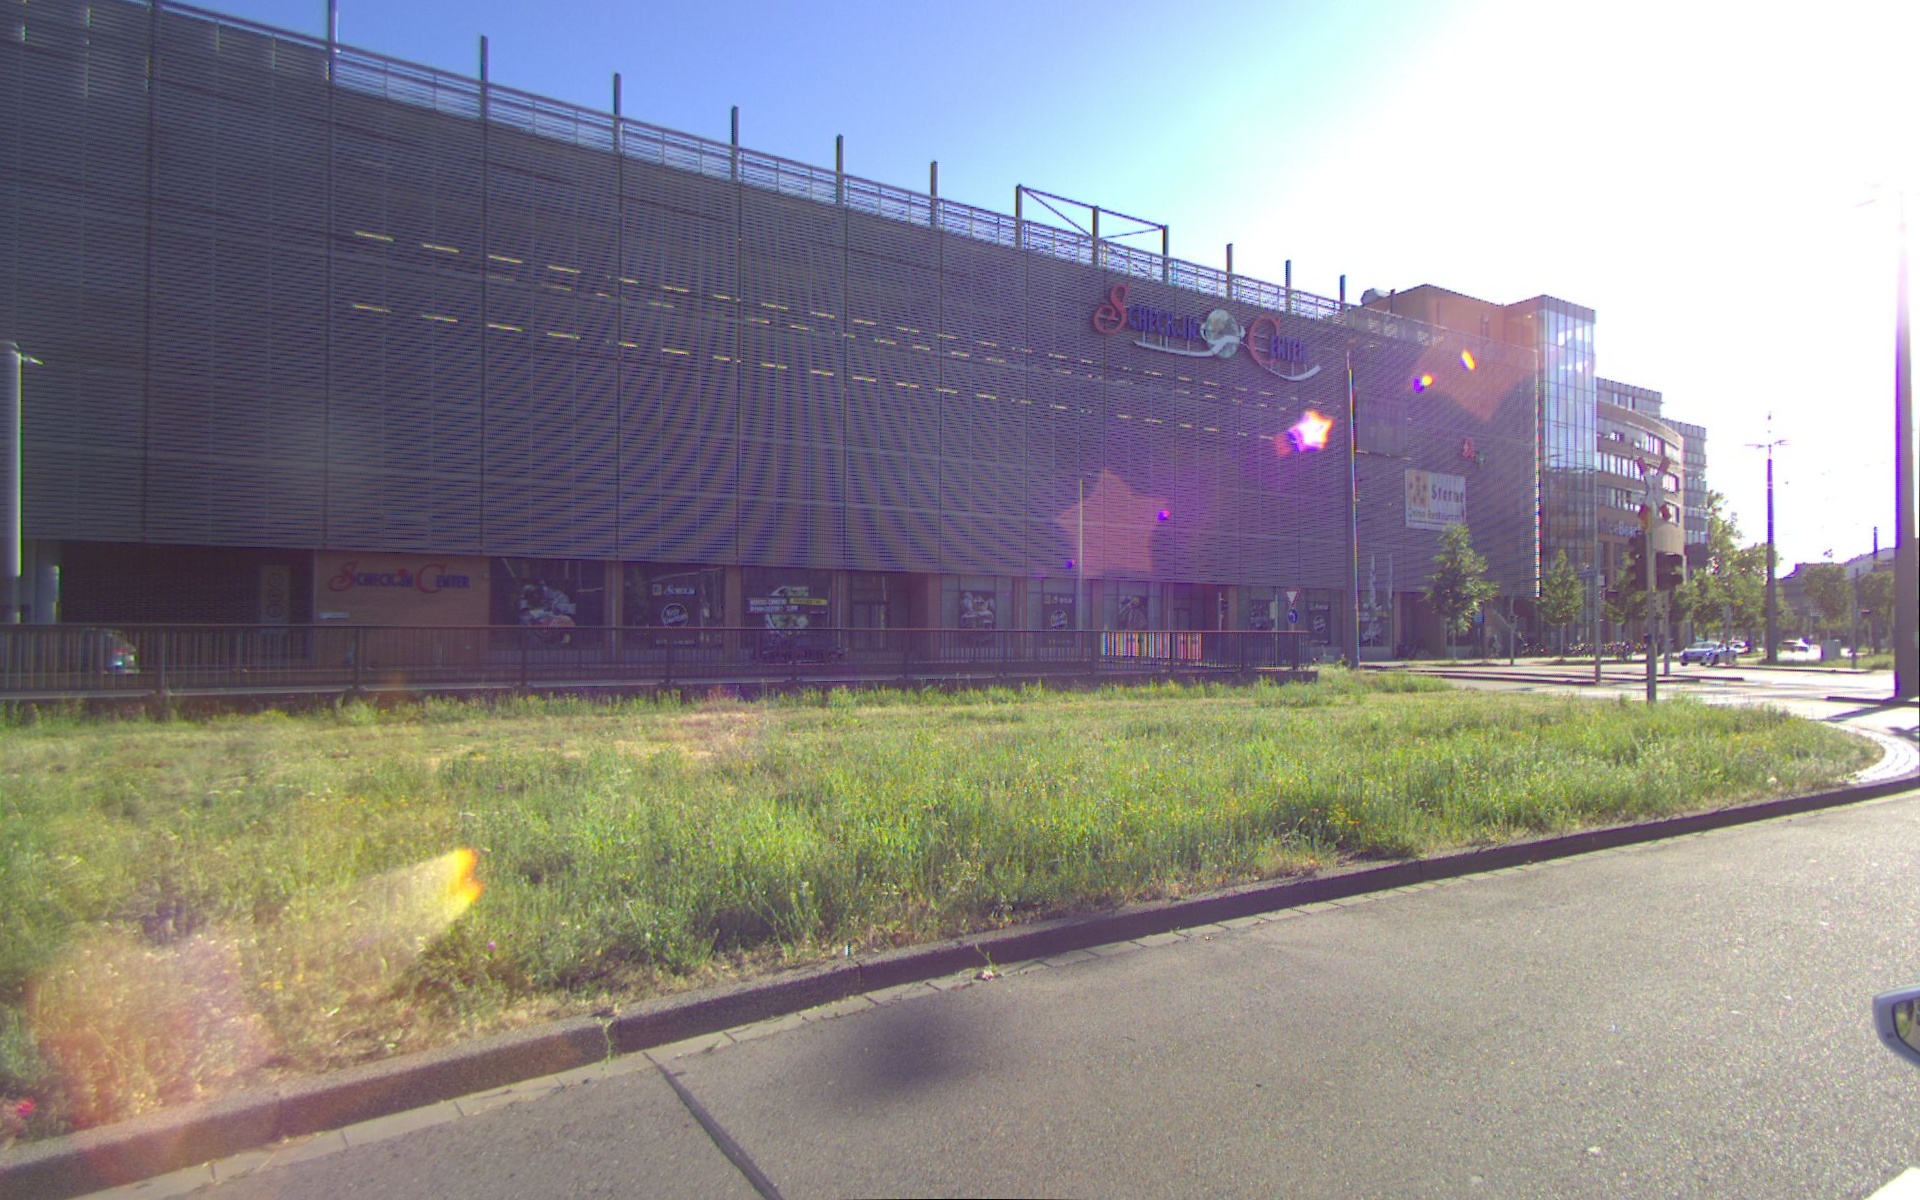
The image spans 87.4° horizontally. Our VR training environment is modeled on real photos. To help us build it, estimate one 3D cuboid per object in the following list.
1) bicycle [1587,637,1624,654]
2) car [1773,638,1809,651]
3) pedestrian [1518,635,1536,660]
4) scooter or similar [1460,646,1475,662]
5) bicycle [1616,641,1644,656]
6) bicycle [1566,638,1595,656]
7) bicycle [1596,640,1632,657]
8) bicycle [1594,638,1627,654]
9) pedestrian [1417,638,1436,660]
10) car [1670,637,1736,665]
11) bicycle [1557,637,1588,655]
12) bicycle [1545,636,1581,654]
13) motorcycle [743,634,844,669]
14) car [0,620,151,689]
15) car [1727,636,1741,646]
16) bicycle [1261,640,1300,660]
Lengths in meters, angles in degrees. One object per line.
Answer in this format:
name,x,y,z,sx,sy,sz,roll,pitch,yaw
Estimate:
bicycle,54.306,3.822,84.561,0.891,1.452,2.558,2,-3,-21
car,104.998,5.618,126.941,1.623,1.609,3.357,1,-2,-5
pedestrian,42.718,3.580,75.680,0.894,1.848,0.823,2,-3,-28
scooter or similar,36.860,3.899,72.968,1.138,1.124,0.419,3,-3,-30
bicycle,63.267,4.566,94.910,0.747,1.452,2.135,2,-3,-21
bicycle,51.071,3.906,82.680,0.795,1.452,1.975,2,-3,-21
bicycle,56.024,4.156,86.035,0.891,1.452,2.558,2,-3,-21
bicycle,59.795,4.240,92.387,0.760,1.452,2.604,2,-3,-20
pedestrian,33.680,3.556,72.511,0.819,1.586,0.983,3,-3,-30
car,44.248,2.994,59.821,4.488,1.566,1.979,2,-2,-37
bicycle,50.083,3.777,82.157,0.848,1.452,2.080,2,-3,-21
bicycle,49.113,3.696,81.775,1.060,1.452,2.367,2,-3,-21
motorcycle,-7.310,2.234,44.133,3.953,1.472,1.984,1,-2,-30
car,-21.548,1.231,23.163,4.193,1.520,1.985,1,-1,-30
car,138.640,7.345,179.910,1.627,1.609,3.350,0,-2,33
bicycle,19.381,3.014,60.643,2.384,1.237,0.797,1,-2,-27
